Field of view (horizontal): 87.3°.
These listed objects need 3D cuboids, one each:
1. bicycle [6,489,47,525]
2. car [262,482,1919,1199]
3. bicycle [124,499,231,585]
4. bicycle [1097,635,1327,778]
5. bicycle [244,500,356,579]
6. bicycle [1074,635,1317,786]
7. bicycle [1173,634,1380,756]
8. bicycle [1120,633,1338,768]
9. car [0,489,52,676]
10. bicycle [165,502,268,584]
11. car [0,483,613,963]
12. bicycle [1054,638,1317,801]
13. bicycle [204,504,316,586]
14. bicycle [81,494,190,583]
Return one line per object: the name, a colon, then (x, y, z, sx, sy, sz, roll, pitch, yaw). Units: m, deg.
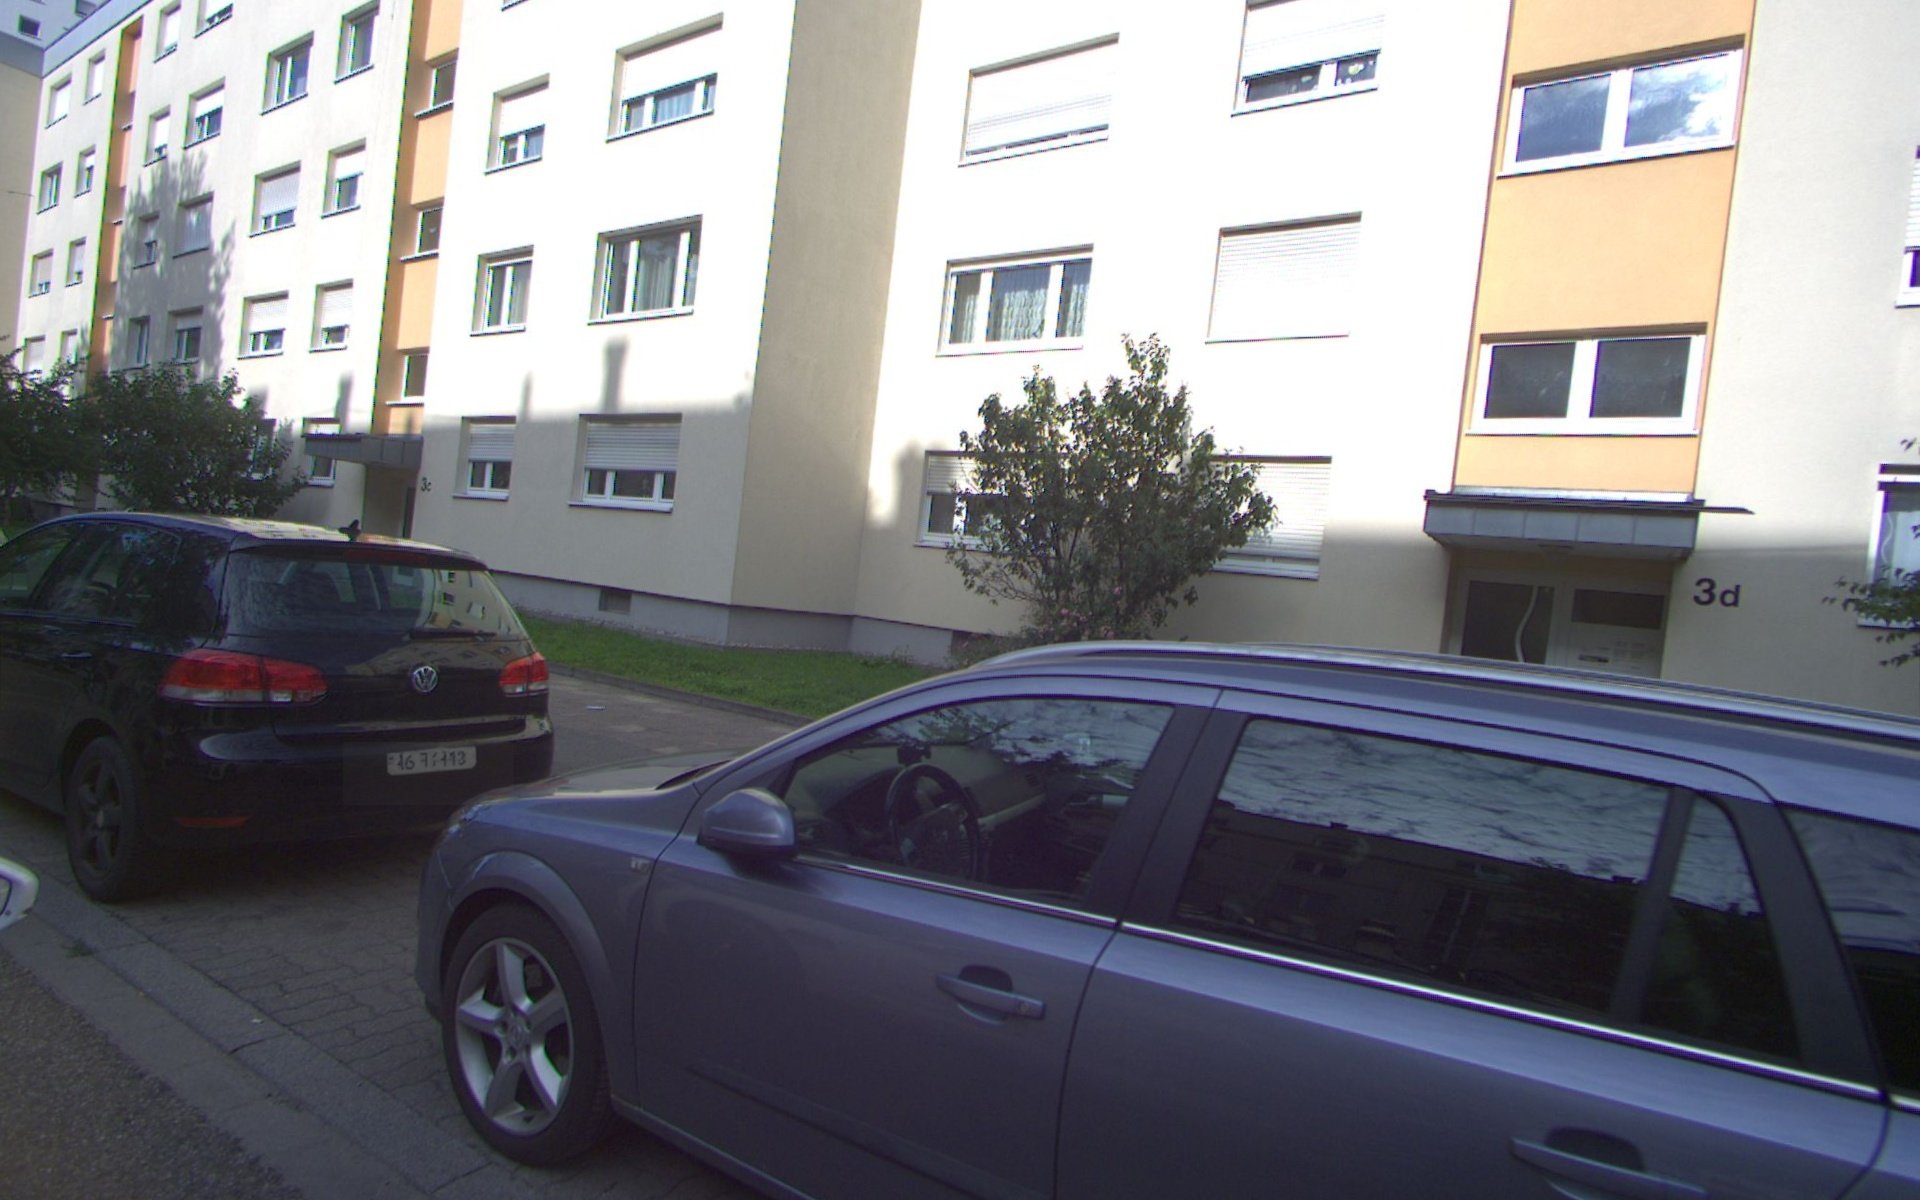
bicycle: (-27.687, -2.762, 29.840, 1.491, 0.939, 0.459, 7, 3, 30)
car: (0.340, 0.688, 2.523, 4.220, 1.504, 1.686, 7, 1, 29)
bicycle: (-14.124, -1.065, 18.128, 2.591, 1.308, 0.604, 7, 3, 32)
bicycle: (2.423, 0.991, 9.817, 2.035, 1.045, 0.501, 7, 4, 31)
bicycle: (-13.086, -1.211, 19.904, 2.591, 1.307, 0.727, 7, 0, 32)
bicycle: (2.150, 0.975, 9.371, 2.060, 1.045, 0.501, 7, 4, 31)
bicycle: (3.559, 1.038, 11.429, 2.099, 1.045, 0.501, 7, 5, 32)
bicycle: (2.704, 0.979, 10.245, 1.992, 1.045, 0.501, 7, 4, 31)
car: (-9.355, -0.342, 8.295, 3.991, 1.435, 1.662, 7, 2, 31)
bicycle: (-13.790, -1.074, 18.637, 2.591, 1.309, 0.595, 7, 4, 32)
car: (-3.777, 0.289, 5.025, 3.875, 1.511, 1.662, 7, 2, 30)
bicycle: (1.931, 0.986, 8.809, 2.083, 1.045, 0.593, 7, 4, 31)
bicycle: (-13.418, -1.068, 19.260, 2.591, 1.308, 0.727, 7, 2, 32)
bicycle: (-14.421, -1.091, 17.566, 2.591, 1.308, 0.604, 7, 2, 32)
